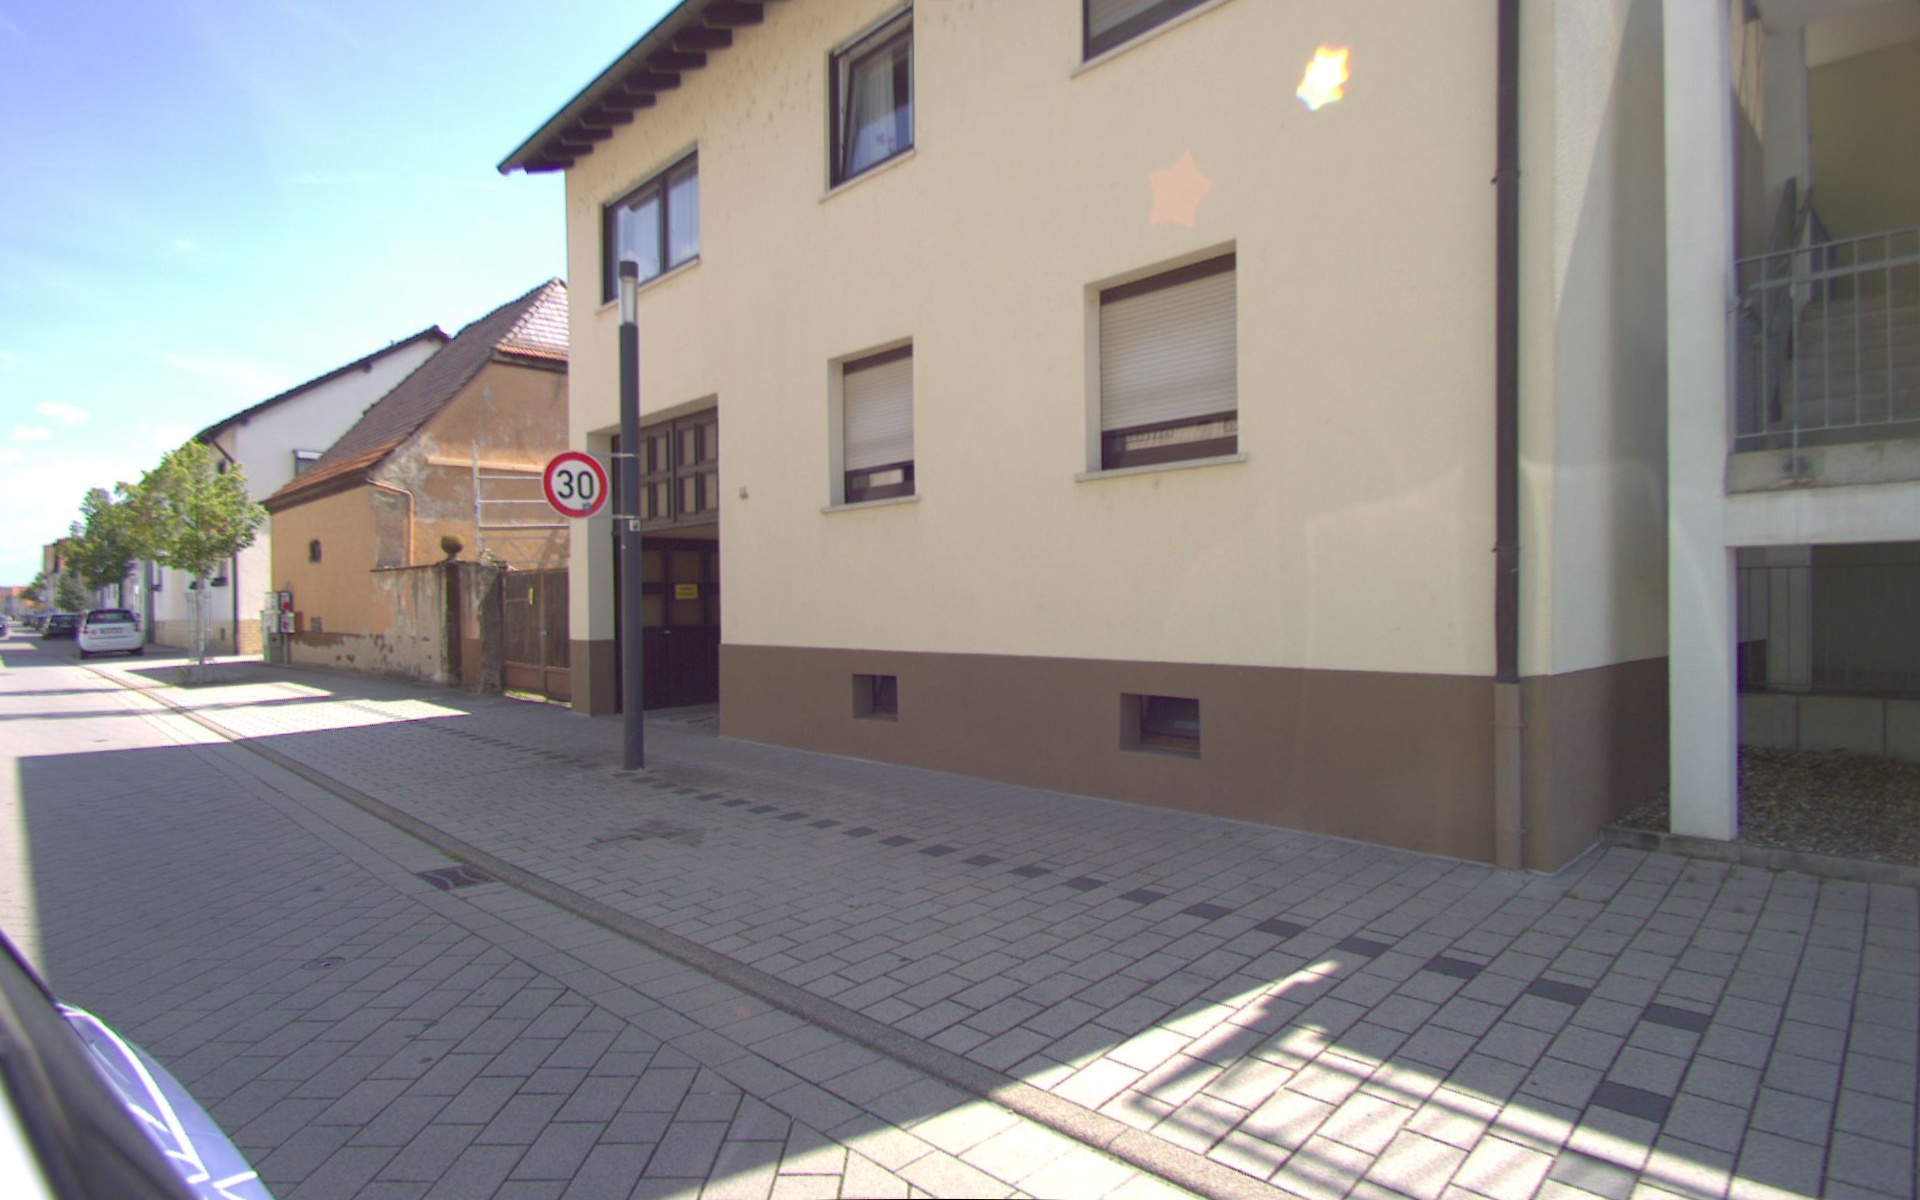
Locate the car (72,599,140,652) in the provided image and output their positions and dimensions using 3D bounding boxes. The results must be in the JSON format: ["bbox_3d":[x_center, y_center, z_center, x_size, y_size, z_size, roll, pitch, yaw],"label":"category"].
[{"bbox_3d":[-27.540,0.799,32.607,1.553,1.573,2.825,-4,2,-42],"label":"car"}]

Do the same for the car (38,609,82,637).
[{"bbox_3d":[-53.961,1.357,60.658,3.957,1.578,1.728,-1,-1,45],"label":"car"}]

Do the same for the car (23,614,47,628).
[{"bbox_3d":[-106.954,2.461,117.050,4.001,1.564,1.829,-1,-1,44],"label":"car"}]

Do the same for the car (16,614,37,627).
[{"bbox_3d":[-123.536,2.679,133.888,1.970,1.592,4.003,0,-1,-44],"label":"car"}]

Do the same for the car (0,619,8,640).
[{"bbox_3d":[-65.814,1.985,67.208,3.771,1.440,1.724,-1,0,6],"label":"car"}]

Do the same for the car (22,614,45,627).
[{"bbox_3d":[-119.001,2.644,129.959,4.001,1.592,1.971,-1,-1,44],"label":"car"}]

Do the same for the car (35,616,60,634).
[{"bbox_3d":[-91.823,2.476,101.846,1.825,1.711,4.004,0,-1,-43],"label":"car"}]
